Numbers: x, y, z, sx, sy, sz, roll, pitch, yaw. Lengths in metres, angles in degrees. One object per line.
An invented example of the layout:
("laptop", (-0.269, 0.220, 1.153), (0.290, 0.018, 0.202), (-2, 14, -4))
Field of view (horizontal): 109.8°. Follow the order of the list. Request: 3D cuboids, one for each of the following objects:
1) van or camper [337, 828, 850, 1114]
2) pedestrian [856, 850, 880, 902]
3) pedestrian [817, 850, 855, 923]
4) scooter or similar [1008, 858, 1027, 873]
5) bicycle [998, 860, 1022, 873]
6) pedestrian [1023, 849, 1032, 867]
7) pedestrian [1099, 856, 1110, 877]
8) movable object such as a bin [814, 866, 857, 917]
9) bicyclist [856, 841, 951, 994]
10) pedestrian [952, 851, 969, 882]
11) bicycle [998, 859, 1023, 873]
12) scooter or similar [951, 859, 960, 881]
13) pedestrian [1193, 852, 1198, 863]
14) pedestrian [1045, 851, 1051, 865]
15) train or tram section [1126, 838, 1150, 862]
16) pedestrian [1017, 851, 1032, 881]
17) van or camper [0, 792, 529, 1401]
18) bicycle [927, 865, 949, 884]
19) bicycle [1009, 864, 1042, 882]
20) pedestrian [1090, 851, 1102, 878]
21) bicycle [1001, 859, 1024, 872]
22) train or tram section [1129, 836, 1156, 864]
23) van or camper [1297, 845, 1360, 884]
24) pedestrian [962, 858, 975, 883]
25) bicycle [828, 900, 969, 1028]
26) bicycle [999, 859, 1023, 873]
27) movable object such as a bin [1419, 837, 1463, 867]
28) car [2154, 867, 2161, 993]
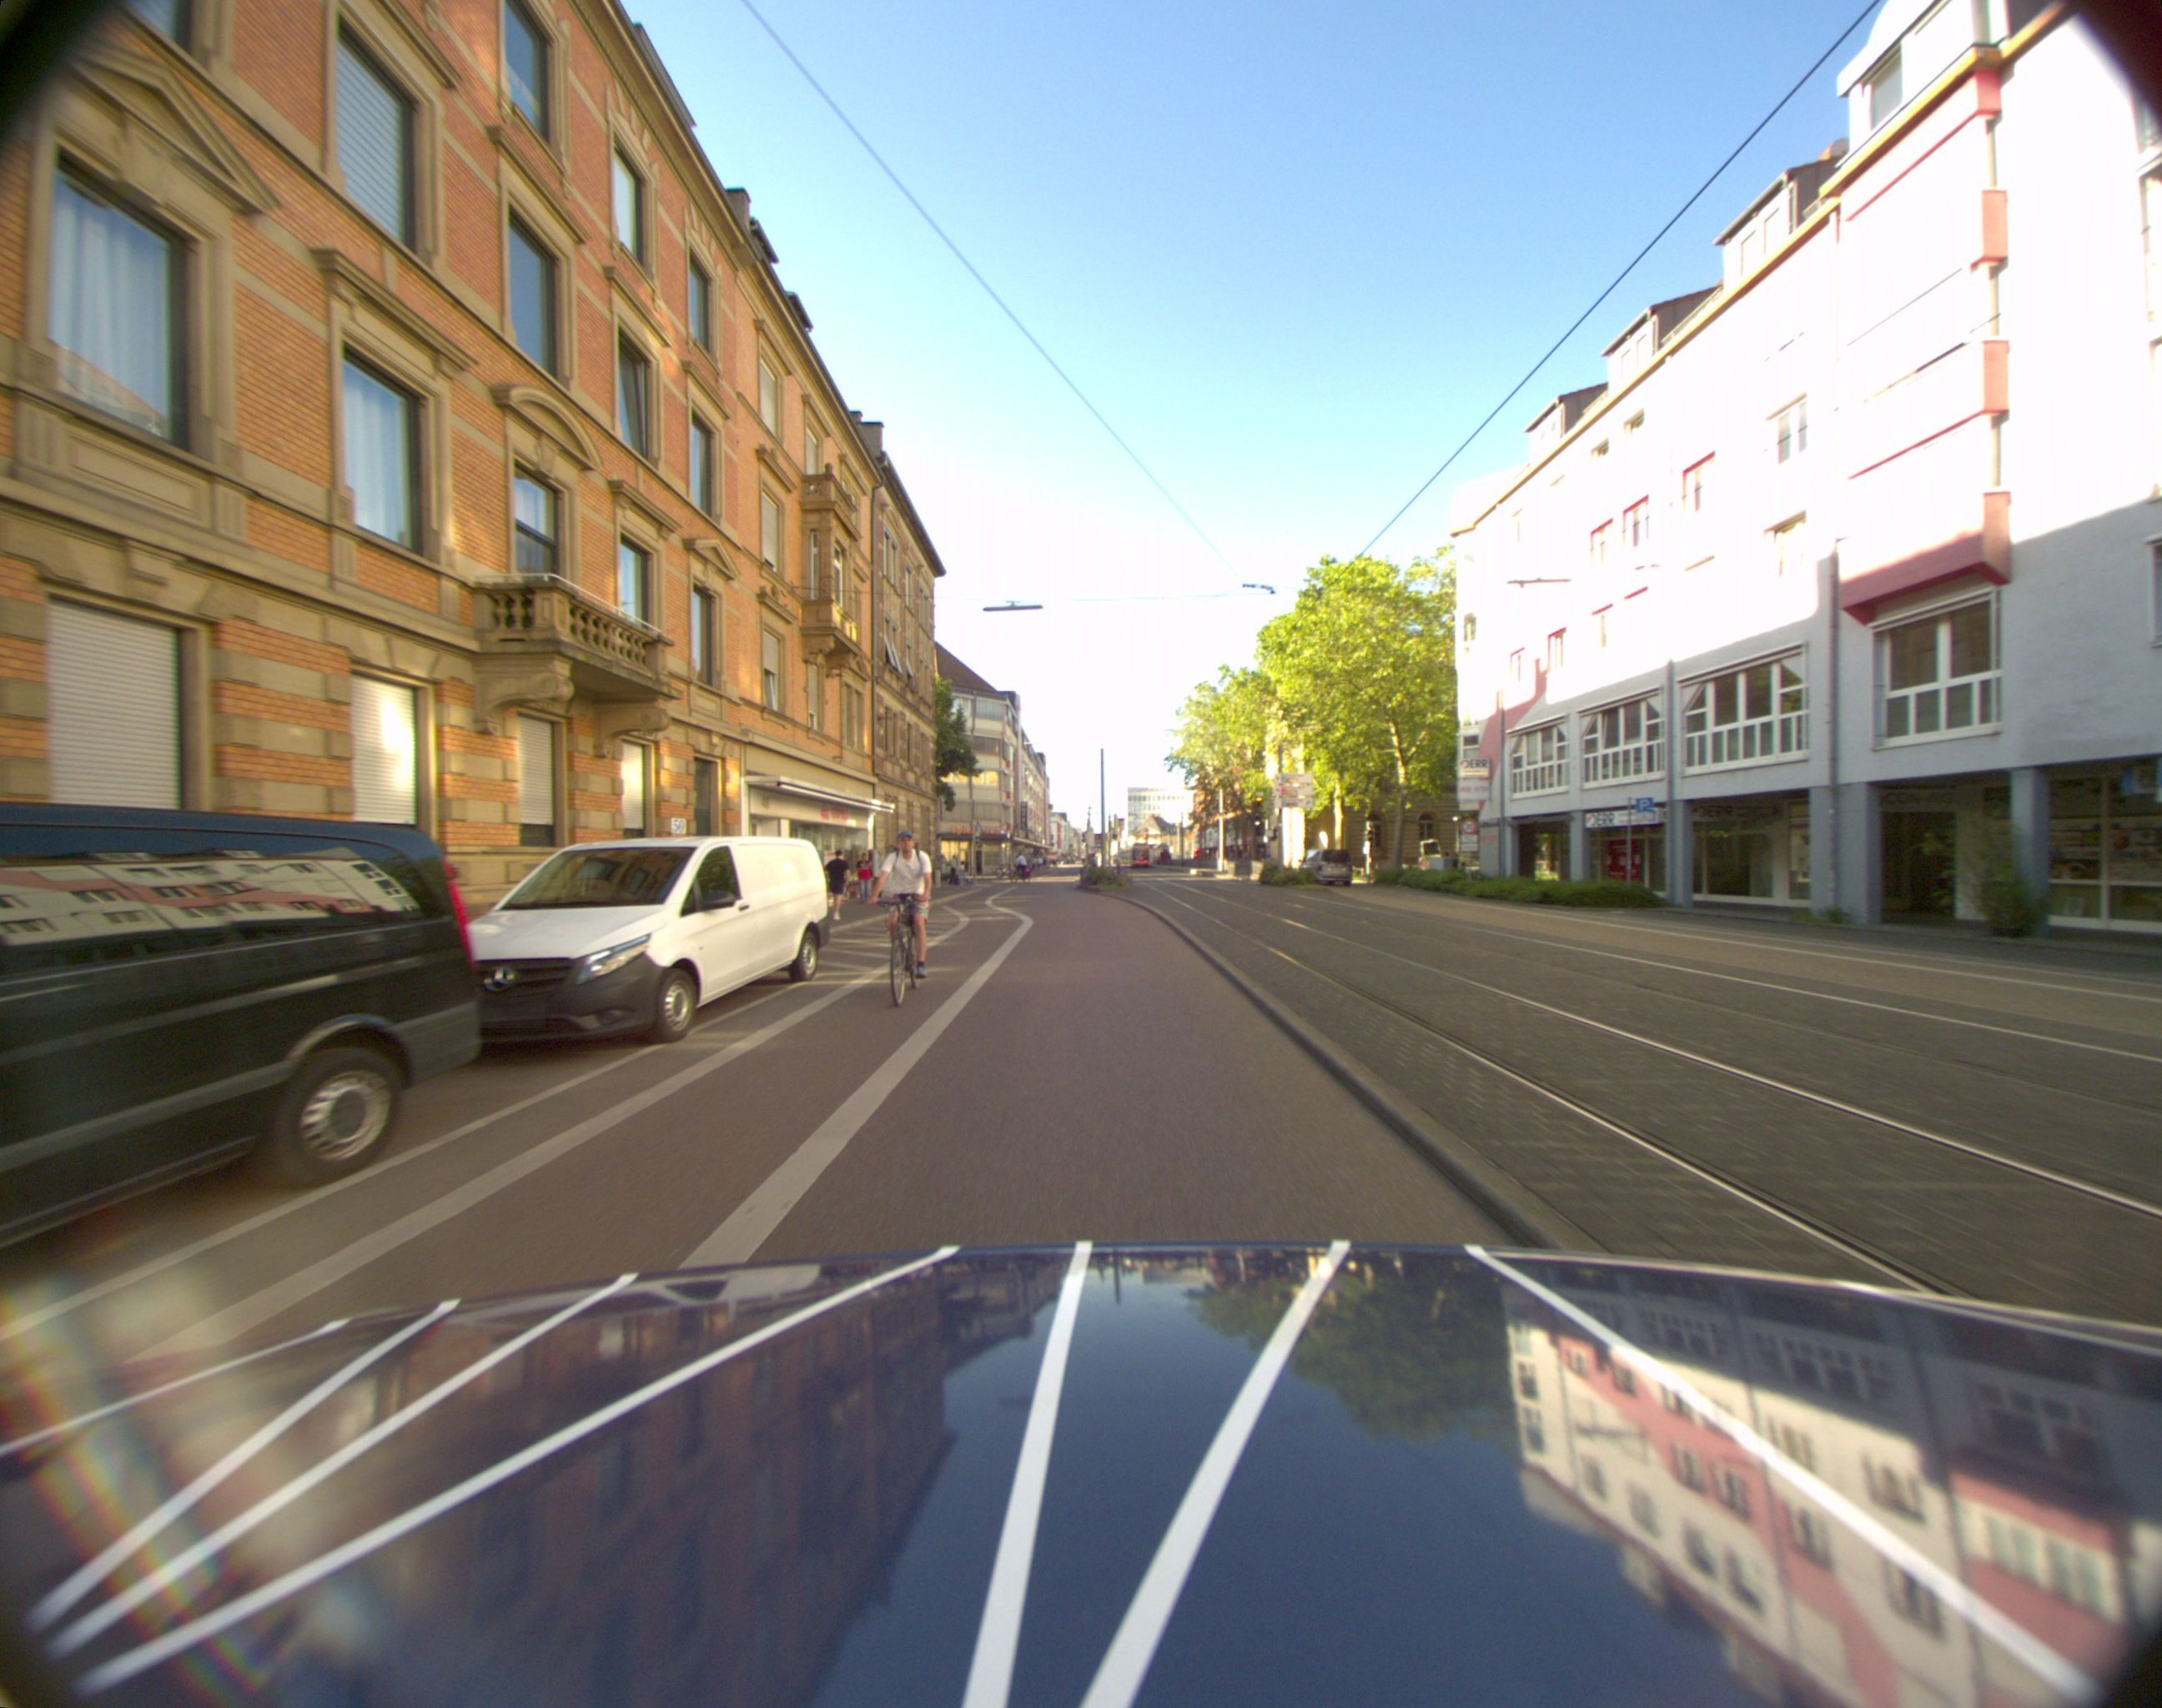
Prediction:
("van or camper", (-4.394, 0.817, 8.293), (1.936, 2.025, 5.474), (-2, 1, 0))
("pedestrian", (-7.154, 0.735, 25.519), (0.469, 1.718, 0.589), (0, 0, 37))
("pedestrian", (-6.221, 0.817, 19.311), (0.674, 1.803, 0.756), (-1, 1, 0))
("scooter or similar", (-5.420, 0.947, 64.708), (1.482, 1.222, 0.591), (1, 1, 1))
("bicycle", (-5.728, 1.003, 61.381), (1.950, 1.100, 0.564), (0, 1, -1))
("pedestrian", (-5.310, 0.423, 75.537), (0.746, 1.717, 0.814), (-2, 1, 1))
("pedestrian", (1.928, 1.038, 62.578), (0.764, 1.724, 0.590), (-1, 0, 8))
("movable object such as a bin", (-6.828, 1.023, 21.180), (0.777, 1.340, 1.299), (-1, 1, 0))
("bicyclist", (-2.003, 0.681, 8.669), (0.656, 1.646, 0.928), (-1, 1, 14))
("pedestrian", (-6.988, 0.715, 43.908), (0.850, 1.797, 0.875), (0, 0, -16))
("bicycle", (-5.748, 1.006, 62.029), (1.950, 1.100, 0.564), (0, 1, -1))
("scooter or similar", (-7.709, 0.964, 46.584), (0.392, 1.281, 1.520), (-1, 0, -15))
("pedestrian", (19.404, 0.629, 129.003), (0.791, 1.905, 0.665), (-1, 1, -1))
("pedestrian", (-4.215, 0.468, 97.033), (0.669, 1.718, 0.810), (2, 1, 0))
("train or tram section", (9.242, -0.605, 124.255), (2.981, 3.623, 13.944), (-2, 0, 1))
("pedestrian", (-3.497, 0.727, 46.901), (0.593, 1.811, 0.943), (-2, 1, 13))
("van or camper", (-4.624, 0.848, 2.282), (1.976, 2.034, 5.330), (-2, 1, -1))
("bicycle", (-8.605, 1.223, 45.722), (0.445, 1.108, 1.809), (-1, 1, -39))
("bicycle", (-3.423, 1.152, 46.964), (1.941, 1.088, 0.599), (-1, 1, 14))
("pedestrian", (0.885, 0.620, 44.663), (0.519, 1.581, 0.667), (-4, 1, -8))
("bicycle", (-5.777, 0.973, 64.058), (1.950, 1.100, 0.564), (0, 1, -1))
("train or tram section", (8.712, -0.520, 109.147), (2.981, 3.623, 16.489), (-2, -1, 2))
("van or camper", (13.131, 0.507, 40.639), (1.998, 1.929, 4.835), (2, 1, 4))
("pedestrian", (-6.497, 0.953, 43.811), (0.581, 1.406, 0.575), (-2, 1, -19))
("bicycle", (-1.993, 1.169, 8.674), (0.648, 1.132, 2.097), (-1, 1, 14))
("bicycle", (-5.766, 0.988, 62.790), (1.950, 1.159, 0.628), (0, 1, -1))
("movable object such as a bin", (24.047, -0.128, 50.764), (2.643, 2.002, 1.177), (0, 1, 25))
("car", (14.799, 0.969, 7.601), (1.922, 1.604, 4.369), (-1, 0, -2))
